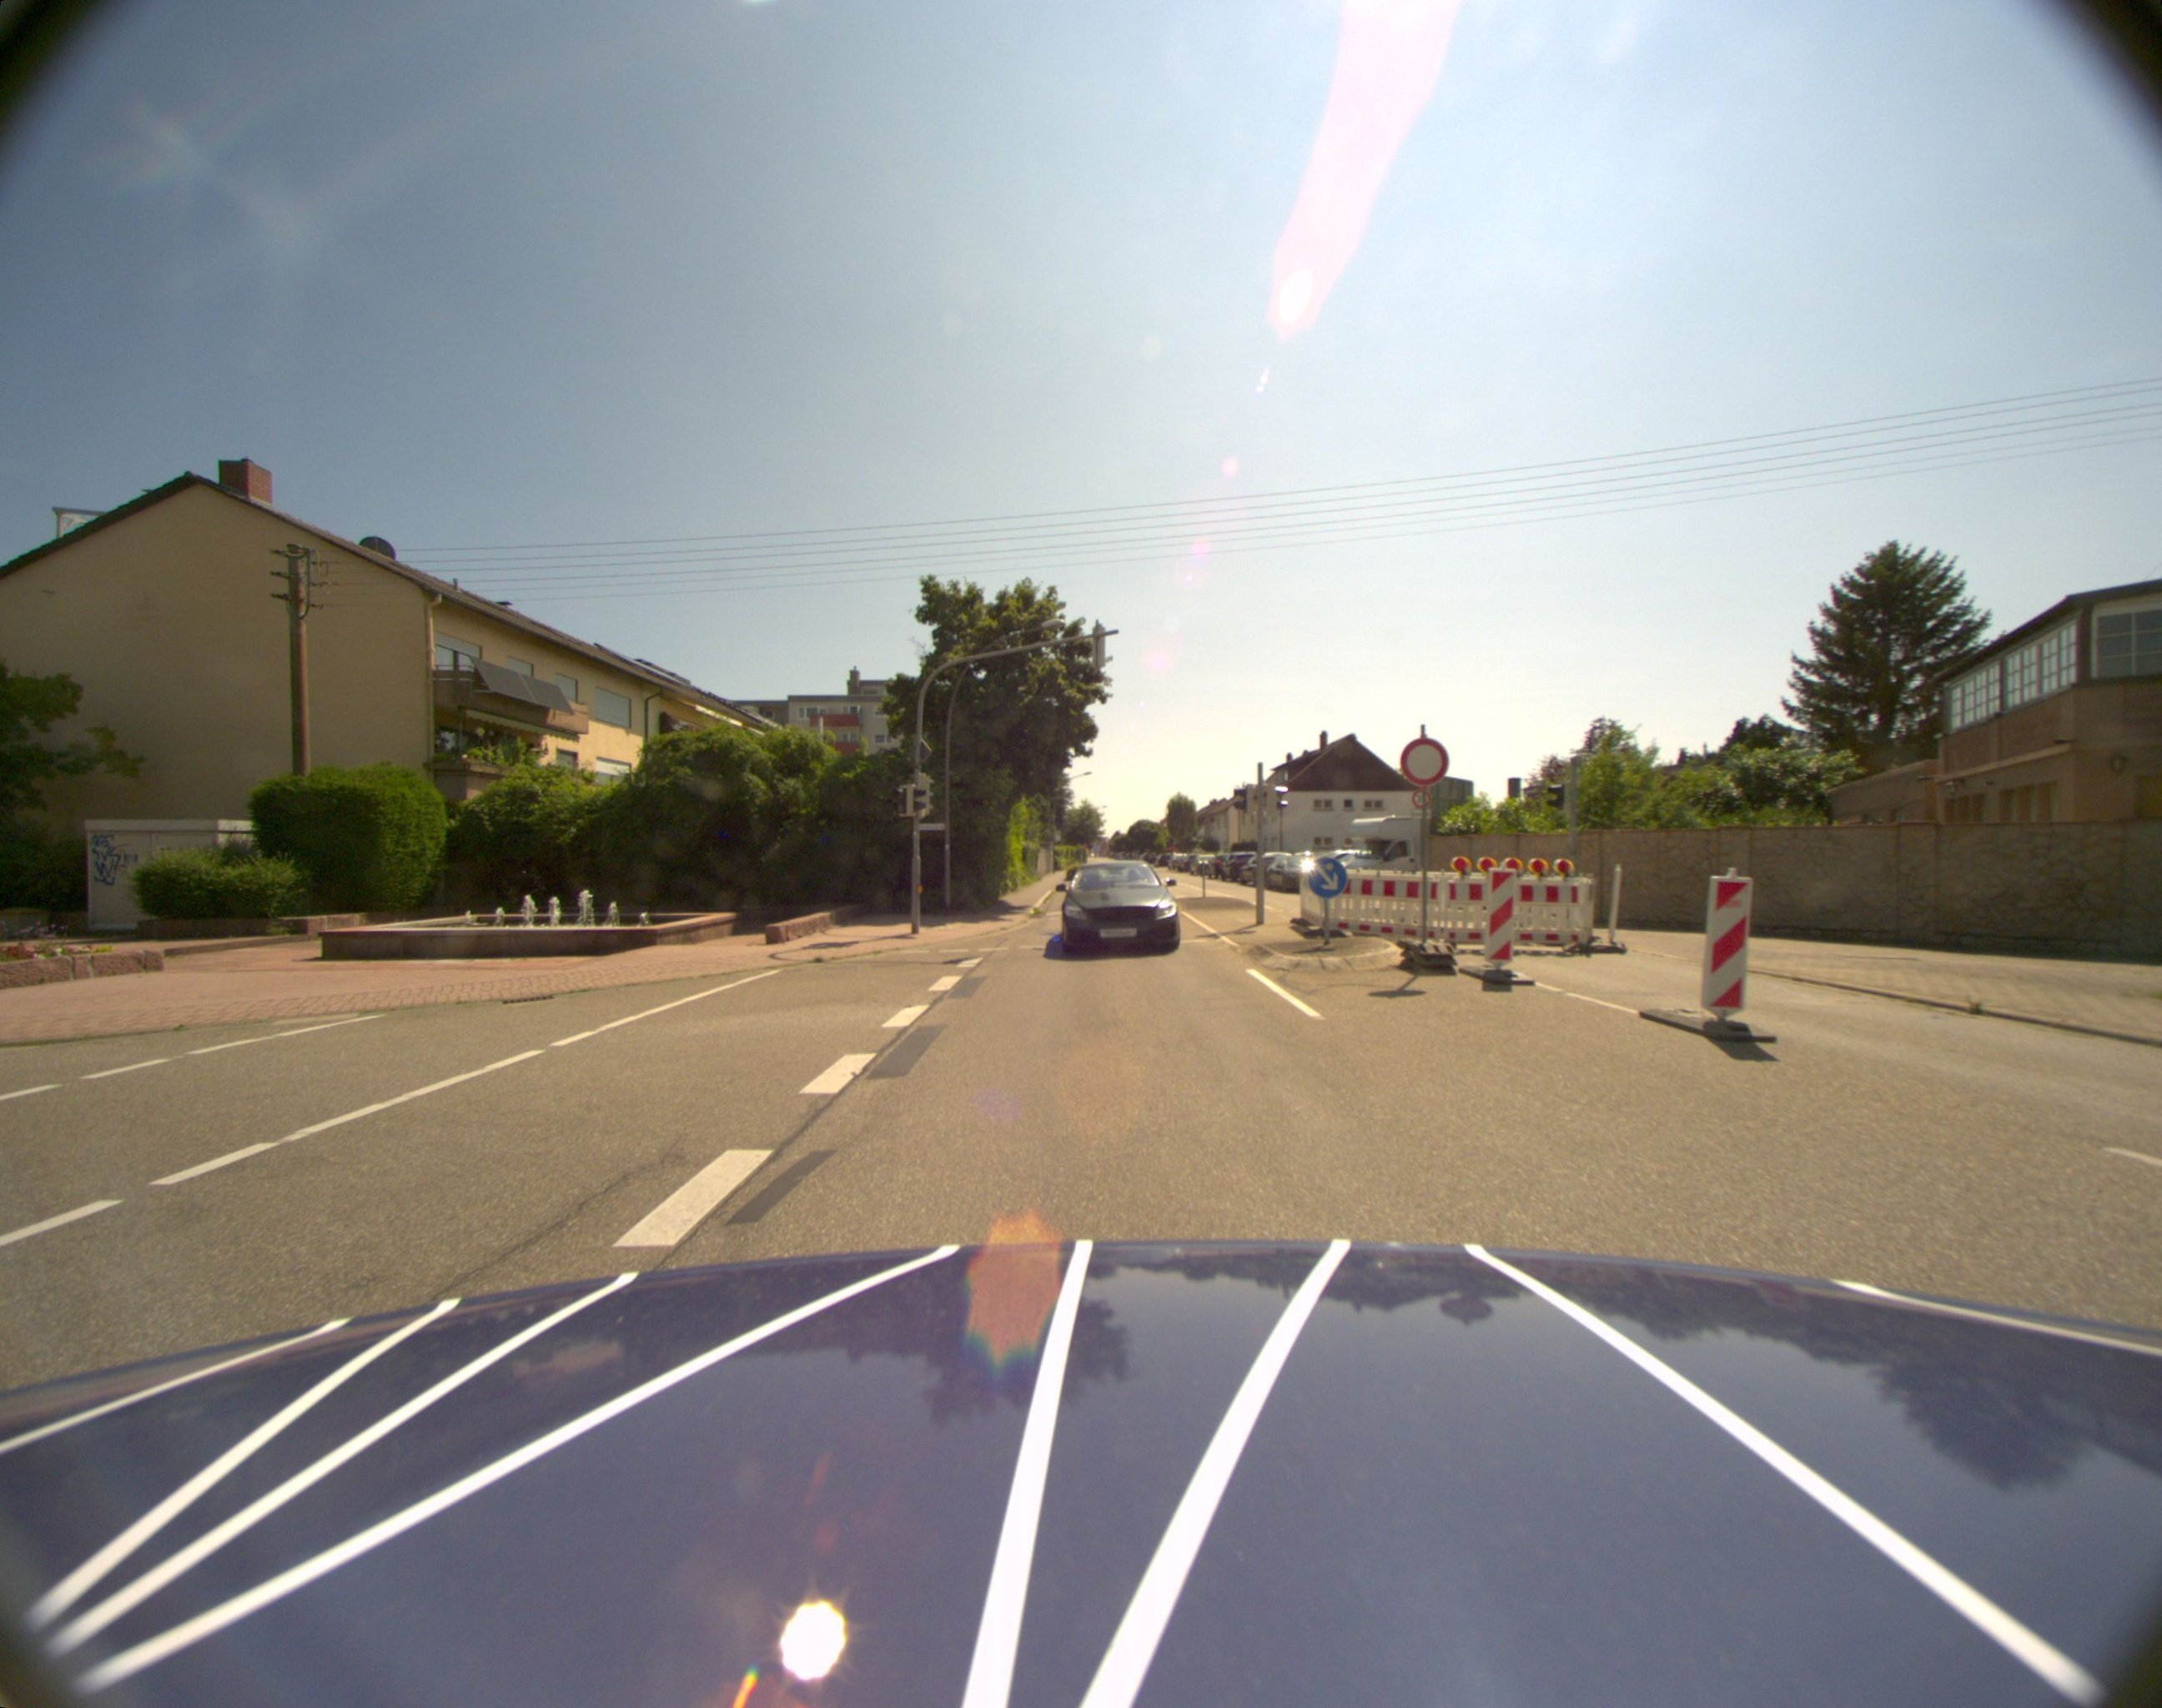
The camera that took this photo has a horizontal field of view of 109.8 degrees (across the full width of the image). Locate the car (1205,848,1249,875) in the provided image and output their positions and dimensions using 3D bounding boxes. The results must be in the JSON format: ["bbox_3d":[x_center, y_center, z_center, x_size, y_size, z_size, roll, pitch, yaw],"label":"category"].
[{"bbox_3d":[8.923,0.426,46.762,1.863,1.538,4.176,1,1,-1],"label":"car"}]

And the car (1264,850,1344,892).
[{"bbox_3d":[8.754,0.606,30.265,1.952,1.491,4.509,1,1,2],"label":"car"}]

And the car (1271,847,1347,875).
[{"bbox_3d":[13.524,0.411,45.211,3.999,1.607,1.767,0,1,-6],"label":"car"}]

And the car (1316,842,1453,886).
[{"bbox_3d":[13.034,0.397,32.770,5.116,1.758,2.130,-1,1,-9],"label":"car"}]

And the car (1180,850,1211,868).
[{"bbox_3d":[9.239,0.376,61.549,1.739,1.310,3.915,1,1,-2],"label":"car"}]

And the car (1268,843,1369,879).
[{"bbox_3d":[12.750,0.353,40.904,4.776,1.853,1.999,0,1,-6],"label":"car"}]

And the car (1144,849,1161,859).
[{"bbox_3d":[9.652,-0.002,103.123,1.739,1.409,3.915,0,1,-2],"label":"car"}]

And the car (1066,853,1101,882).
[{"bbox_3d":[0.096,0.742,45.434,1.872,1.586,4.615,0,1,-2],"label":"car"}]

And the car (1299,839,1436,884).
[{"bbox_3d":[13.485,0.312,35.922,5.782,1.990,2.130,-1,1,-7],"label":"car"}]

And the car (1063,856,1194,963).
[{"bbox_3d":[0.689,0.852,13.870,1.889,1.429,4.837,-4,1,-1],"label":"car"}]

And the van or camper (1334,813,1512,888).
[{"bbox_3d":[13.623,-0.177,30.423,6.263,2.828,2.288,-1,1,-9],"label":"van or camper"}]

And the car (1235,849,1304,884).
[{"bbox_3d":[8.759,0.558,35.683,1.953,1.491,4.507,1,1,-2],"label":"car"}]

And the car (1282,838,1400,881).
[{"bbox_3d":[13.102,0.256,38.428,5.180,2.076,2.211,-1,1,-7],"label":"car"}]

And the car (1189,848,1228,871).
[{"bbox_3d":[8.984,0.348,53.950,1.863,1.538,4.544,1,1,-2],"label":"car"}]

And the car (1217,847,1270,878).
[{"bbox_3d":[8.827,0.410,41.574,1.863,1.581,4.227,1,1,-2],"label":"car"}]

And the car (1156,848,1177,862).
[{"bbox_3d":[9.405,0.071,83.530,1.739,1.504,3.915,0,1,-2],"label":"car"}]
